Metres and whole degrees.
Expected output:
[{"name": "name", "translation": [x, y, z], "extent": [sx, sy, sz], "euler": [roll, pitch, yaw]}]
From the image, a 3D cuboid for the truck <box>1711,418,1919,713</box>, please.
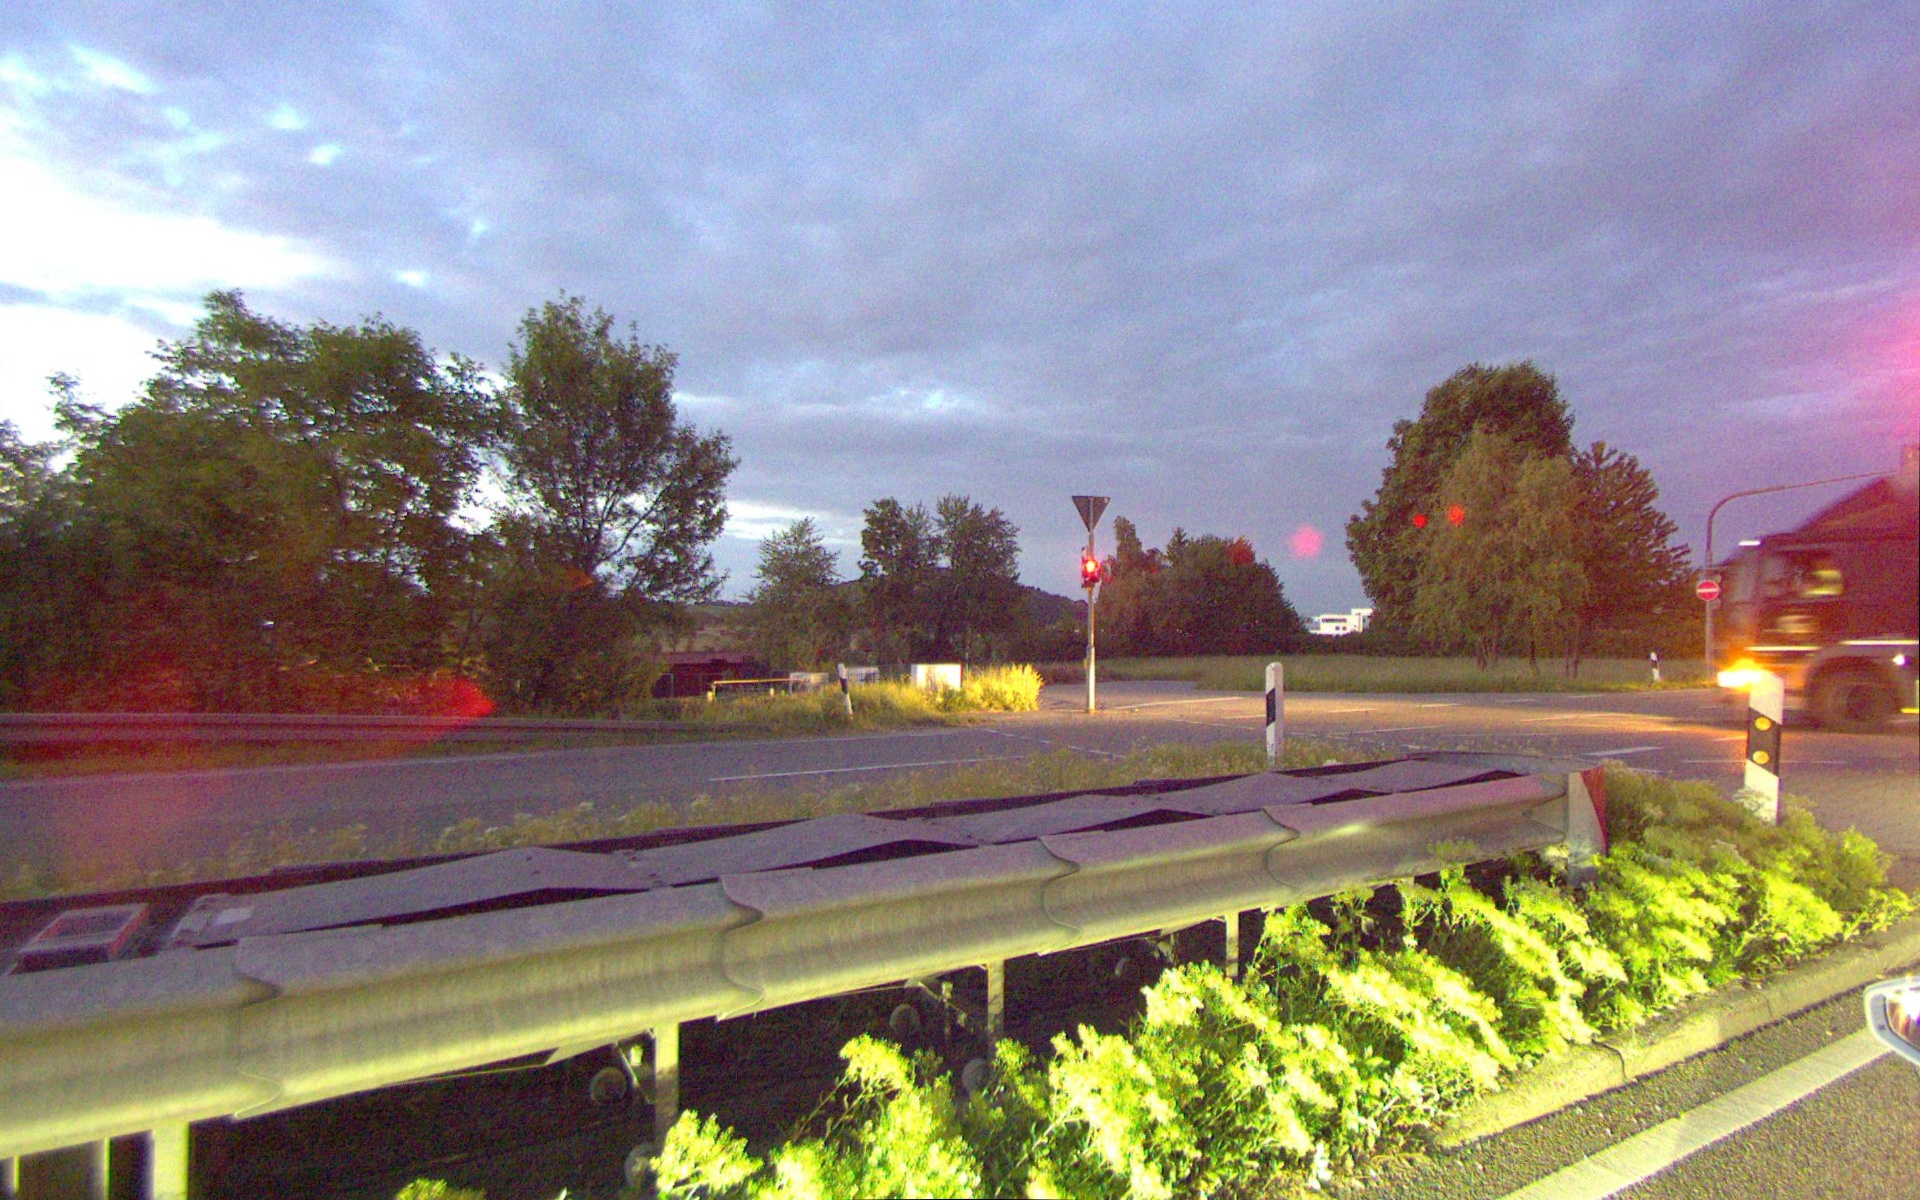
[{"name": "truck", "translation": [16.656, -0.443, 13.668], "extent": [10.174, 4.172, 2.726], "euler": [0, -1, 35]}]
